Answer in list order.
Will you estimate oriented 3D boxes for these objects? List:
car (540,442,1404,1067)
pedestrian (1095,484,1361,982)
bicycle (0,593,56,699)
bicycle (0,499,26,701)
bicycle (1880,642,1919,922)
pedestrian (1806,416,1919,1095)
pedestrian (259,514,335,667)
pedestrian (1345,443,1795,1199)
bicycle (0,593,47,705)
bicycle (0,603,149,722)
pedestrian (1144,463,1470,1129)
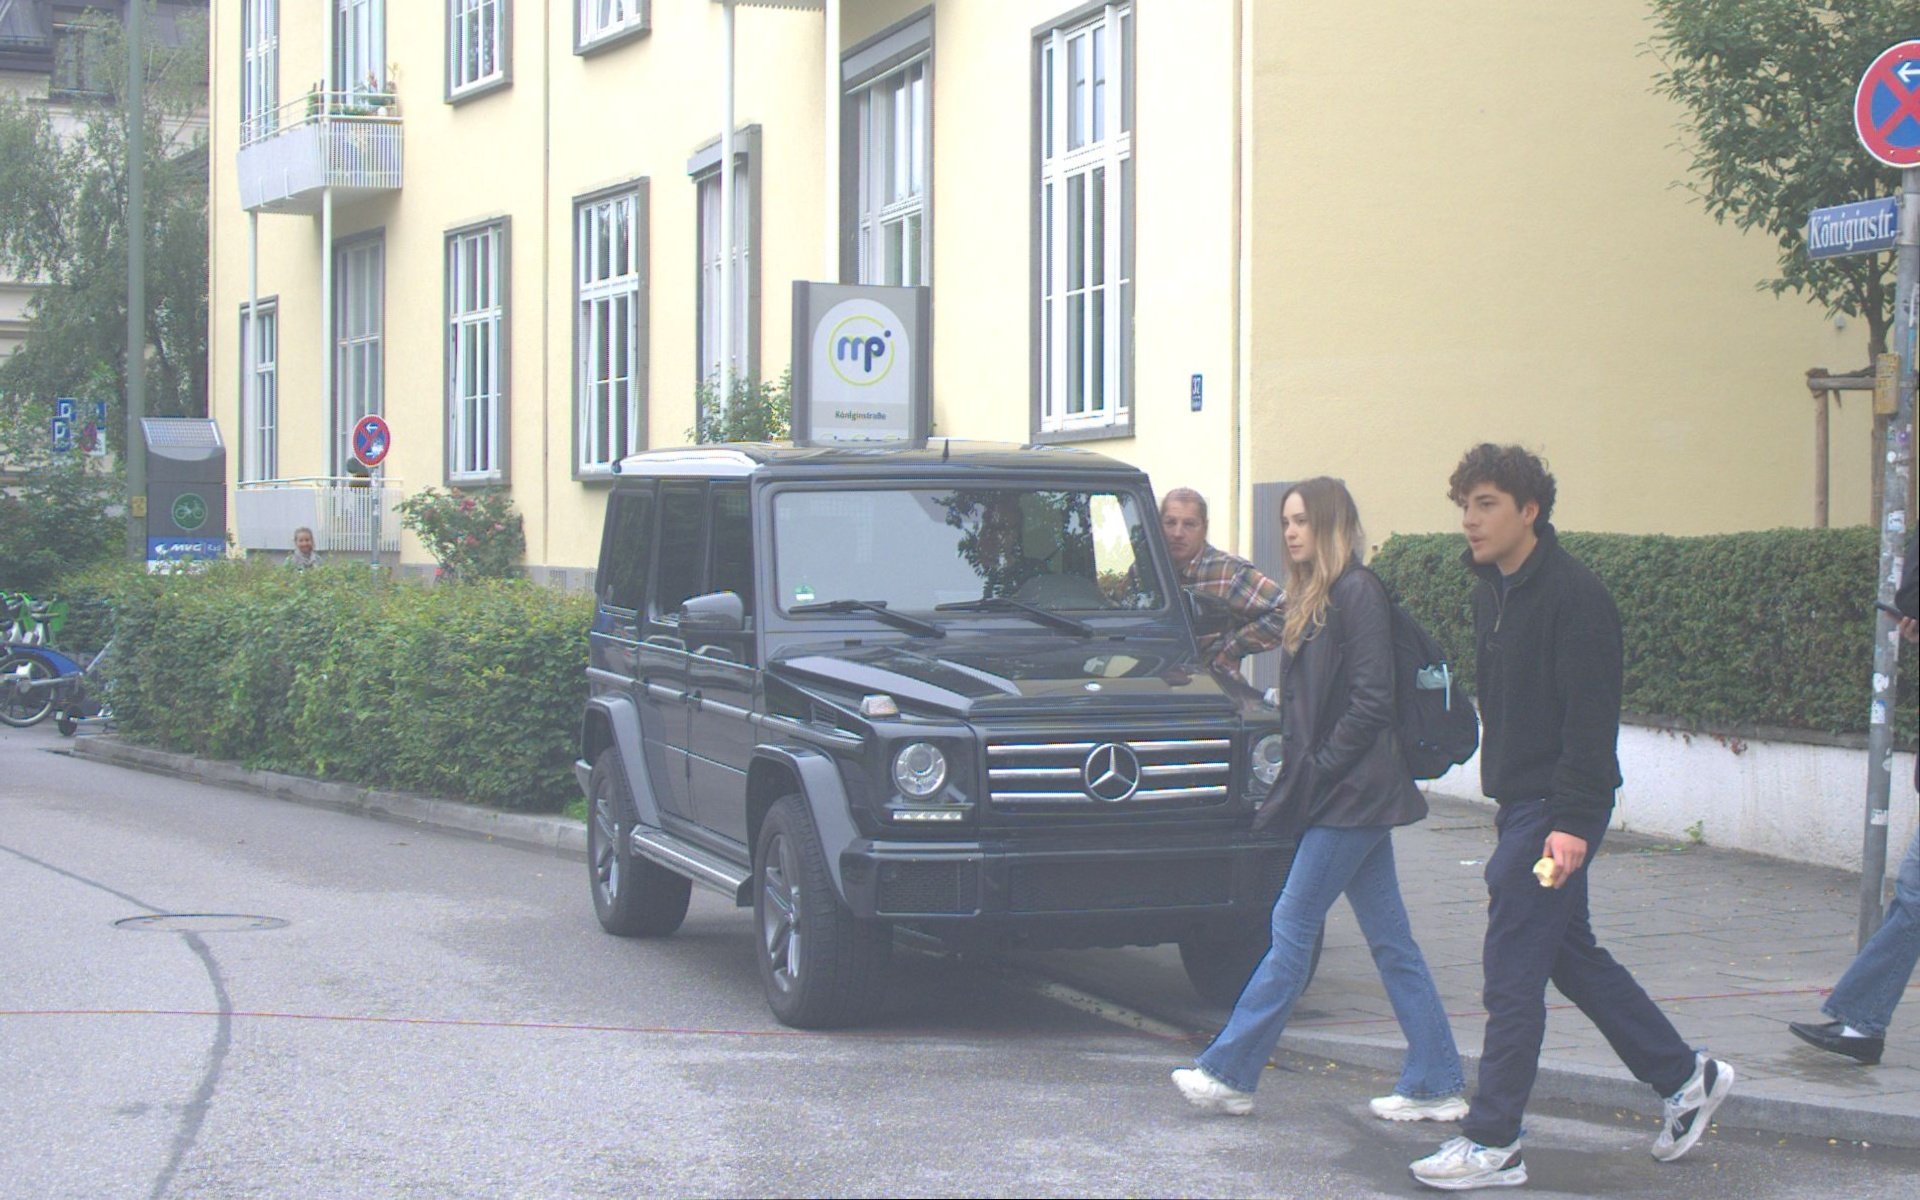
[{"bbox_3d":[-0.193,0.411,12.812,1.873,1.881,4.620,0,1,-18],"label":"car"},{"bbox_3d":[0.969,0.459,12.644,0.848,1.751,0.954,-1,1,-3],"label":"pedestrian"},{"bbox_3d":[-9.614,0.465,33.625,0.367,1.011,1.534,0,2,41],"label":"bicycle"},{"bbox_3d":[-10.051,0.019,33.864,0.456,2.007,1.674,0,2,36],"label":"bicycle"},{"bbox_3d":[4.537,0.690,13.045,1.948,1.081,0.528,-2,-1,39],"label":"bicycle"},{"bbox_3d":[2.882,0.415,9.723,0.850,1.851,0.766,-1,1,9],"label":"pedestrian"},{"bbox_3d":[-7.430,-0.112,38.509,0.631,1.678,0.698,-2,1,-27],"label":"pedestrian"},{"bbox_3d":[1.493,0.524,8.528,0.989,1.803,0.660,0,1,0],"label":"pedestrian"},{"bbox_3d":[-9.098,0.463,32.588,0.366,1.011,1.537,-1,1,4],"label":"bicycle"},{"bbox_3d":[-8.112,0.557,30.913,1.532,1.011,0.367,-2,2,-30],"label":"bicycle"},{"bbox_3d":[0.964,0.505,9.410,0.827,1.740,0.740,0,1,11],"label":"pedestrian"}]
